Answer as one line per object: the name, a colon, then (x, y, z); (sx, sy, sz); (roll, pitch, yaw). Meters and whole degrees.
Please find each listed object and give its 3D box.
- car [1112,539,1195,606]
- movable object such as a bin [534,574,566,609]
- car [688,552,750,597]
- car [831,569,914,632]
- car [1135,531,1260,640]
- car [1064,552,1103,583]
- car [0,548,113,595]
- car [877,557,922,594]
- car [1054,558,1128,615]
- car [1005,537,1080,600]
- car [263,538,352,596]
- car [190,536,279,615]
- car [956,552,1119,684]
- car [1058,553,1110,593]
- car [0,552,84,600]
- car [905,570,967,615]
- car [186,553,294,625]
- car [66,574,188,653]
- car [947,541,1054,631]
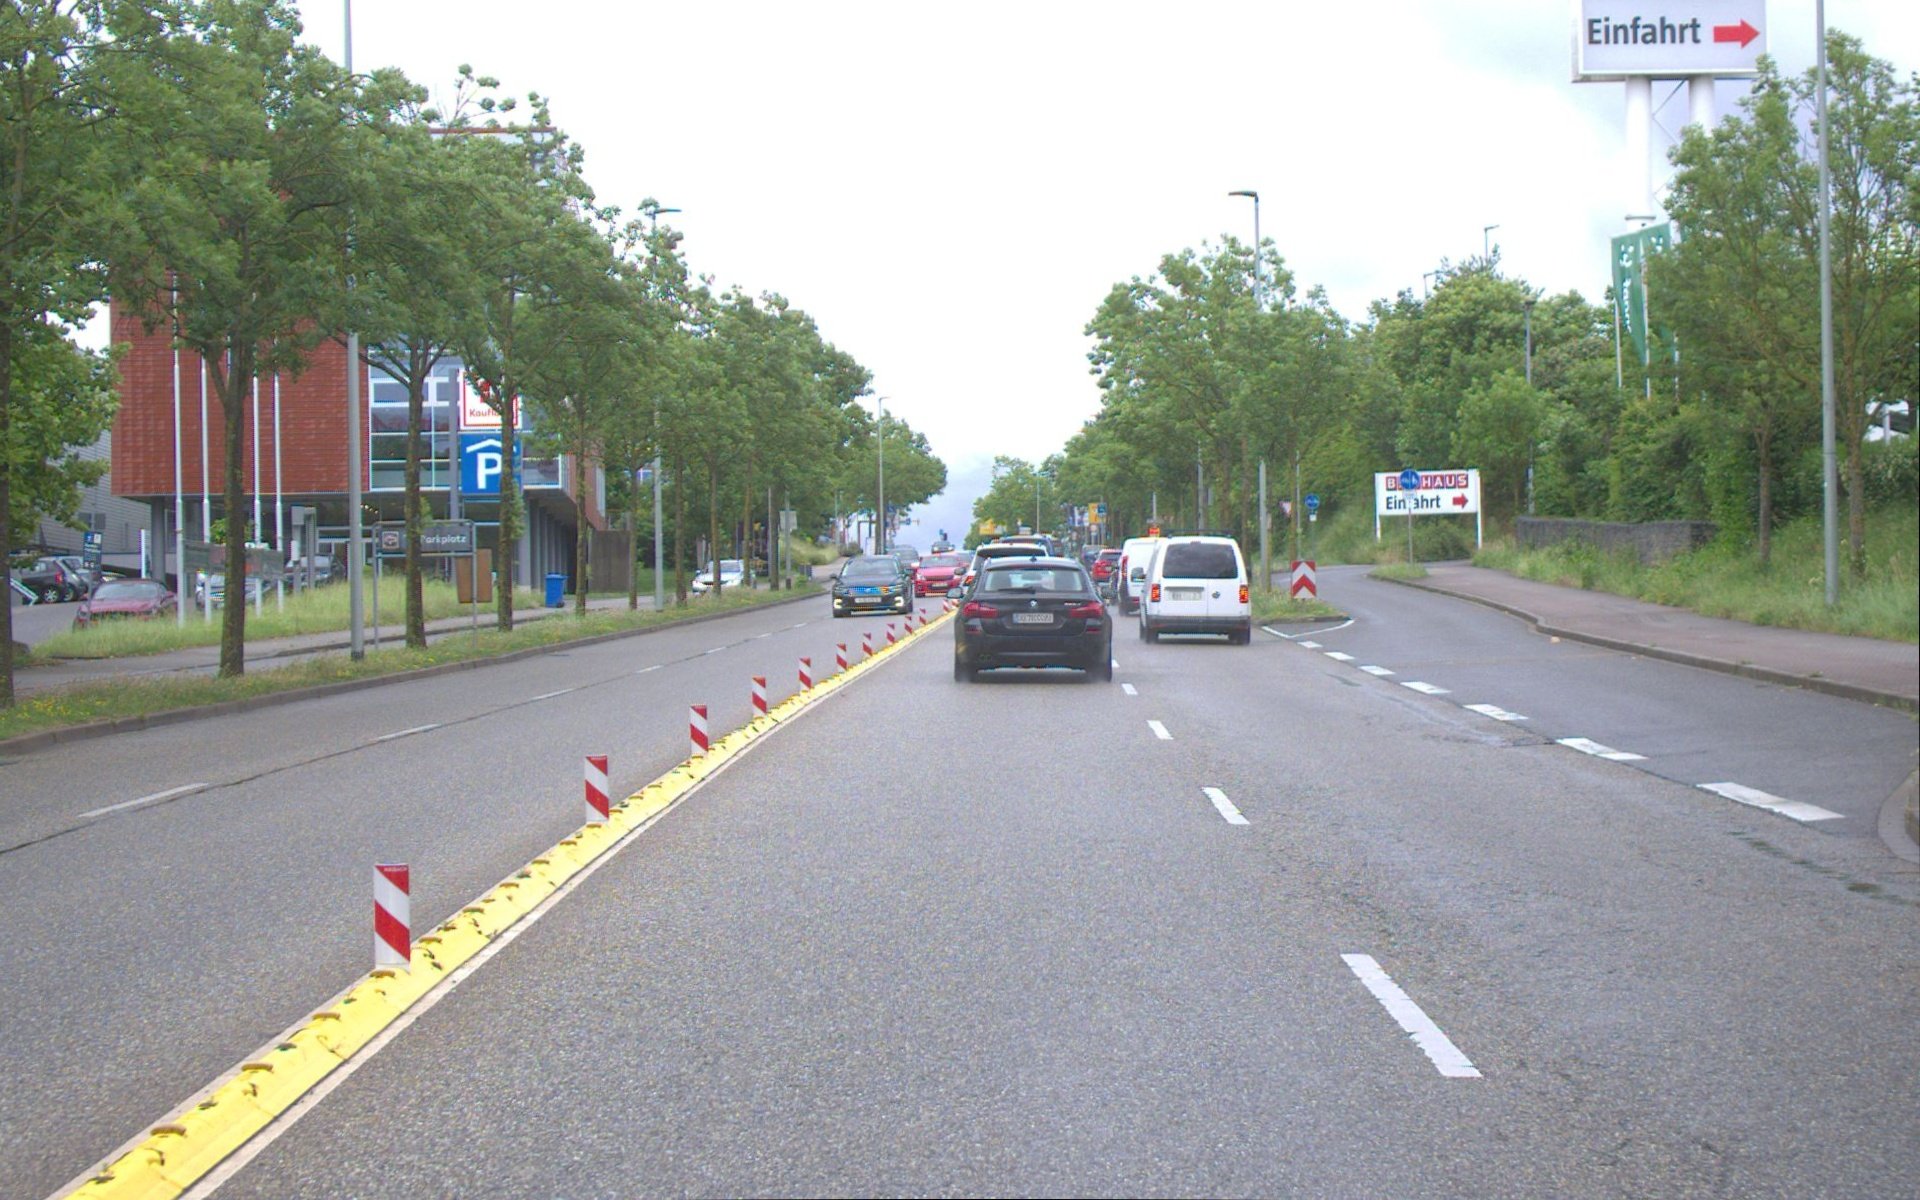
car: (4.541, -0.648, 81.052); (1.794, 1.505, 4.000); (1, 0, 1)
movable object such as a bin: (-13.487, -0.276, 113.030); (0.819, 1.075, 1.086); (4, 1, 2)
car: (-8.995, -0.960, 128.618); (1.867, 1.547, 4.575); (-3, 1, 1)
car: (-2.138, -0.002, 85.277); (1.827, 1.461, 4.616); (-1, 1, 1)
car: (3.979, -0.270, 58.201); (1.827, 1.753, 4.000); (1, 1, 0)
car: (6.237, -1.621, 173.610); (1.794, 1.505, 4.000); (1, 0, 0)
car: (-30.733, -0.960, 115.579); (4.190, 1.505, 1.820); (0, 2, -6)
car: (-2.779, -1.158, 159.277); (1.787, 1.608, 4.436); (-3, 1, 2)
car: (3.640, -0.377, 95.986); (1.794, 1.505, 4.000); (1, 0, -2)
car: (2.069, -0.783, 86.974); (1.794, 1.505, 4.000); (1, 0, 0)
car: (-21.610, -1.119, 114.007); (2.138, 1.767, 4.608); (0, 2, -1)
car: (-20.881, -0.734, 99.112); (2.113, 2.088, 5.124); (0, 2, -7)
car: (0.947, 0.177, 41.135); (1.827, 1.463, 4.000); (-1, 1, 2)
car: (4.881, -1.068, 135.702); (1.794, 1.505, 4.000); (1, 0, -2)
car: (-30.567, -0.791, 111.227); (4.108, 1.505, 1.820); (0, 2, -6)
car: (-0.786, -0.259, 114.536); (1.762, 1.420, 4.180); (-1, 1, 3)
car: (-19.524, -0.321, 93.407); (2.039, 1.756, 4.946); (0, 2, -2)
car: (-19.094, 0.278, 78.980); (1.932, 1.603, 4.712); (0, 2, -4)
car: (0.706, -0.241, 60.740); (1.794, 1.505, 4.000); (1, 0, 0)
